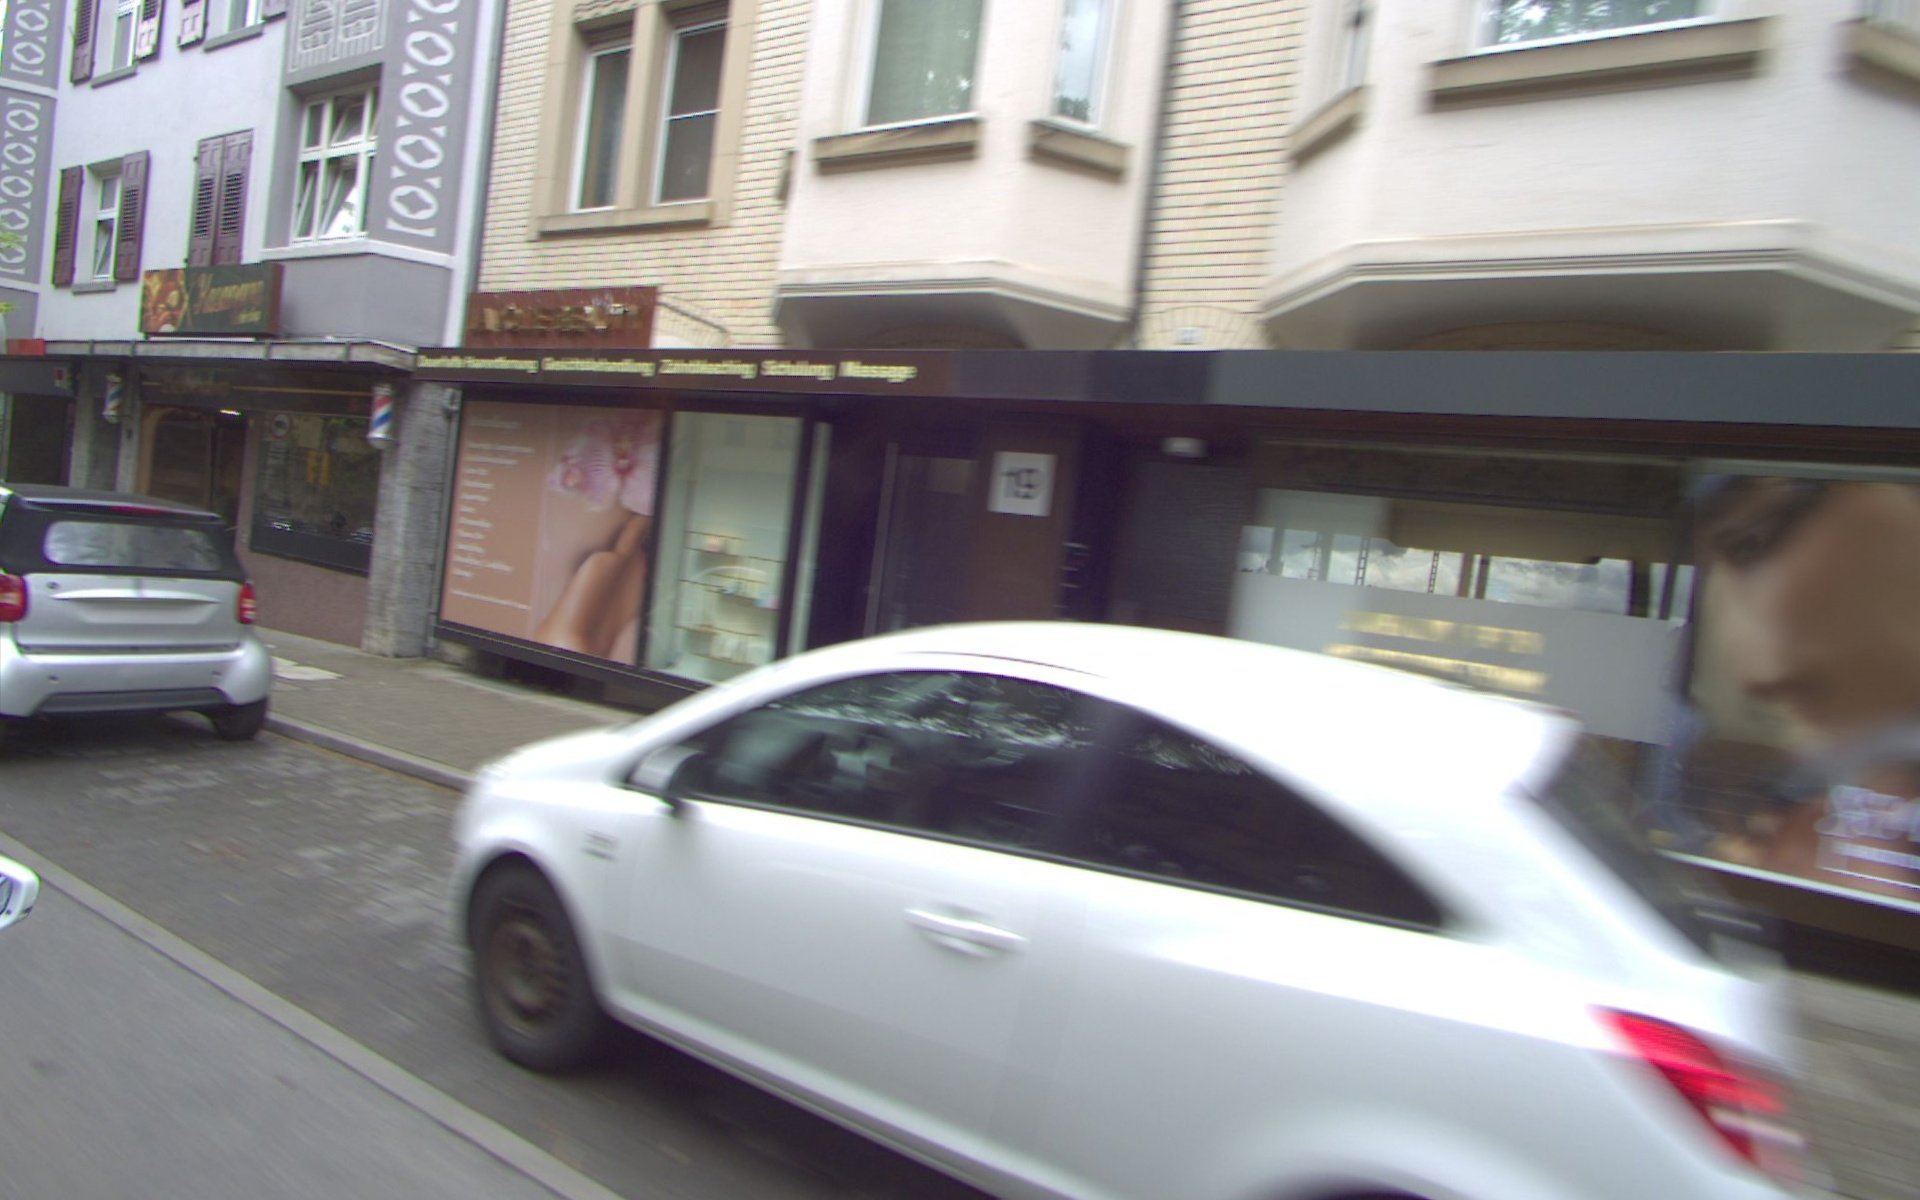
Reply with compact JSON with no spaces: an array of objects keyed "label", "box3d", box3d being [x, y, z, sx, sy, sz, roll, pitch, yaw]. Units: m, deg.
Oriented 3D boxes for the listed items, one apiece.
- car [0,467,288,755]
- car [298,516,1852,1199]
[{"label":"car","box3d":[-6.303,-0.088,6.868,3.463,1.555,1.482,7,2,31]},{"label":"car","box3d":[-0.109,0.654,3.171,3.974,1.434,1.684,7,2,31]}]
